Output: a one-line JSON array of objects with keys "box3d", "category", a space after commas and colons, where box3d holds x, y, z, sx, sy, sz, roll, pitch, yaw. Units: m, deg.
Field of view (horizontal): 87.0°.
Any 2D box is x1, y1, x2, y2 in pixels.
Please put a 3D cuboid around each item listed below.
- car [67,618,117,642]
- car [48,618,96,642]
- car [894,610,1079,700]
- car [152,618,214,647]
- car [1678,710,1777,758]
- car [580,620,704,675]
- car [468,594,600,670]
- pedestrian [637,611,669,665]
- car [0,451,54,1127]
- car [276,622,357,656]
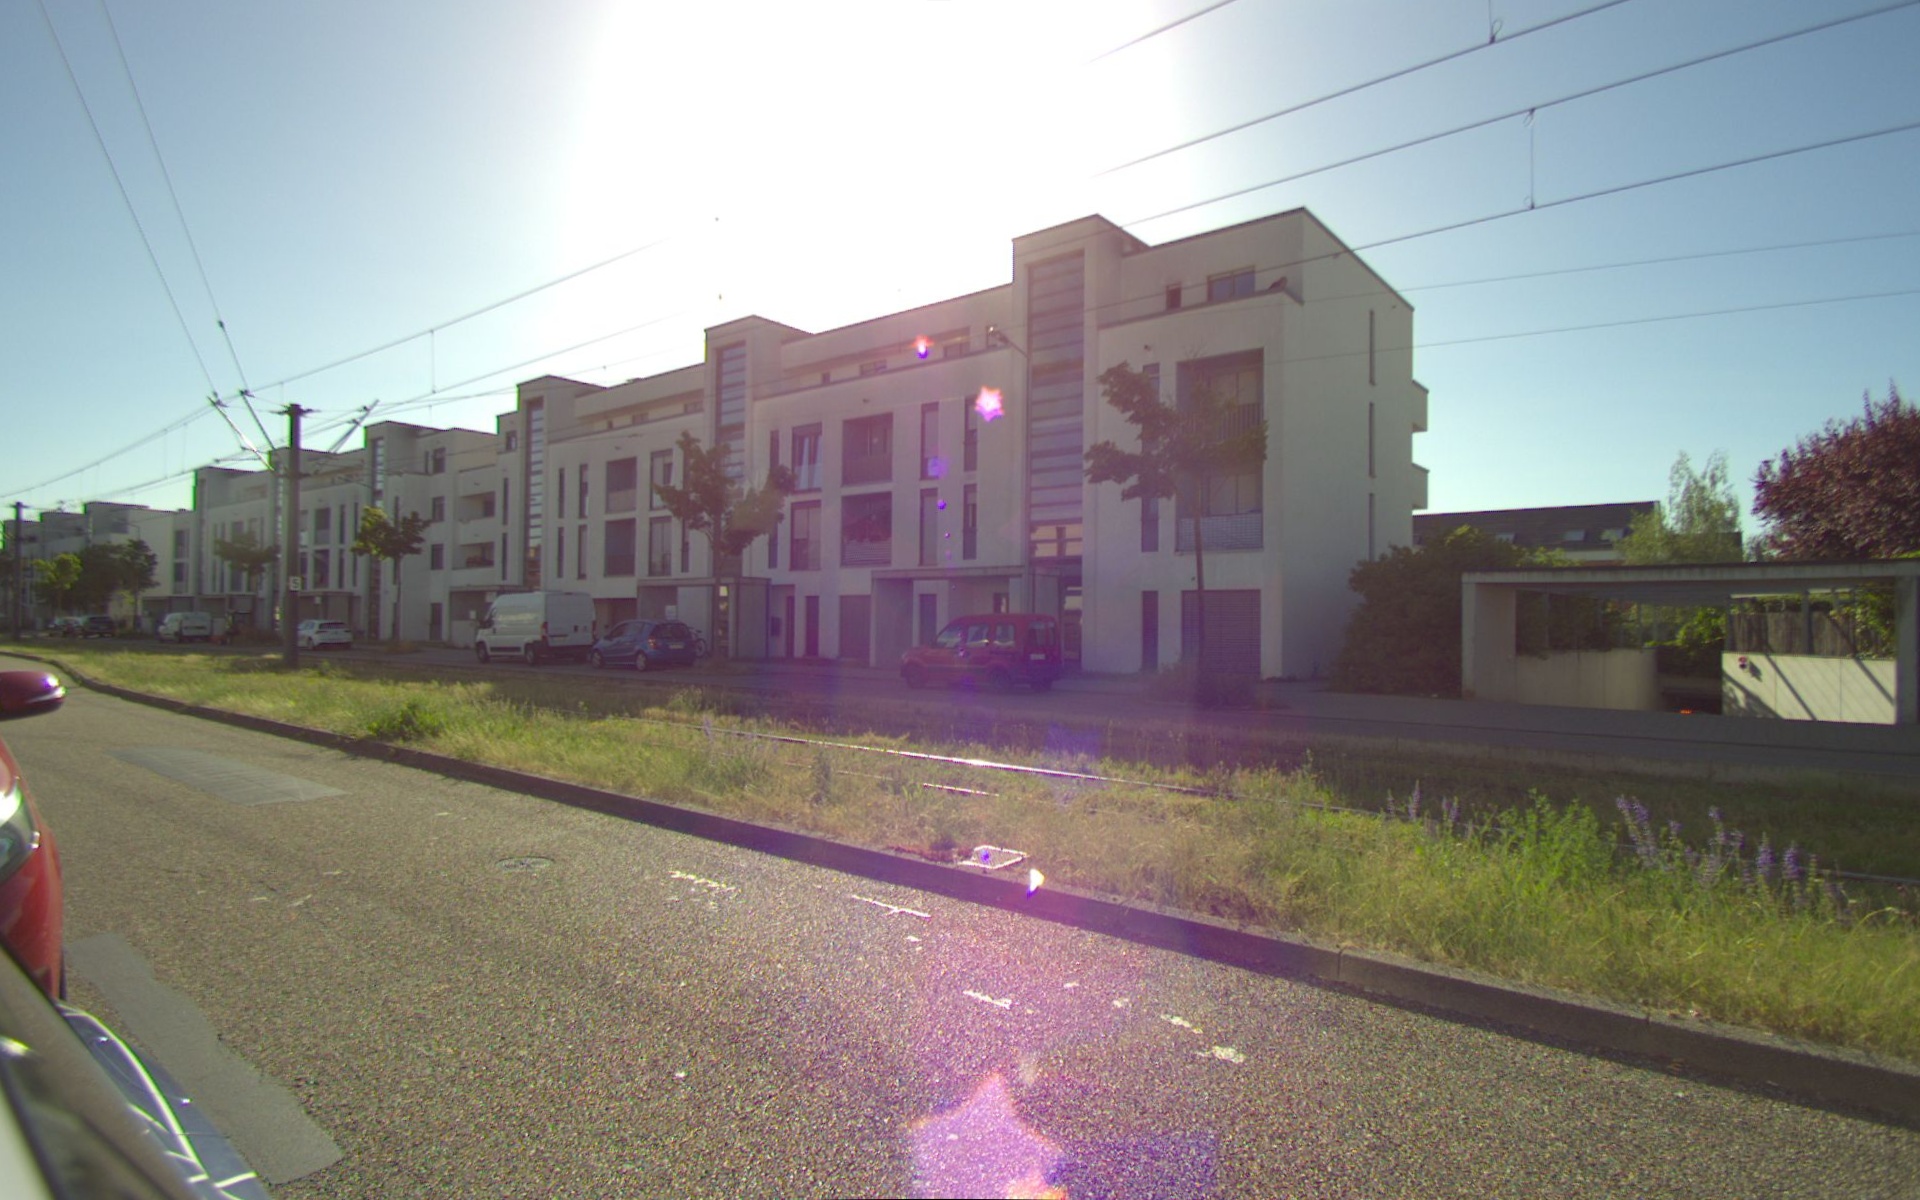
[{"box3d": [-62.973, 2.157, 73.418, 4.277, 1.693, 1.900, -1, 0, 37], "category": "car"}, {"box3d": [-67.517, 2.247, 76.943, 4.277, 1.693, 1.900, -1, 0, 37], "category": "car"}, {"box3d": [0.539, 1.167, 23.027, 3.895, 1.842, 1.972, -1, 0, 43], "category": "car"}, {"box3d": [-47.352, 1.955, 61.636, 4.277, 1.693, 1.900, -1, 0, 37], "category": "car"}, {"box3d": [24.426, 4.266, 32.188, 3.936, 1.337, 1.579, 8, -7, -38], "category": "car"}, {"box3d": [-9.999, 1.446, 31.748, 3.833, 1.556, 1.973, -1, 0, 40], "category": "car"}, {"box3d": [-15.193, 1.072, 35.953, 5.193, 2.491, 2.197, -1, 0, 40], "category": "car"}, {"box3d": [-10.731, 1.305, 35.343, 0.785, 1.836, 0.766, -1, 0, 41], "category": "pedestrian"}, {"box3d": [-4.878, 0.550, 3.666, 4.505, 1.868, 1.850, -1, 0, 41], "category": "car"}, {"box3d": [-31.133, 1.834, 48.909, 4.277, 1.517, 1.900, -1, 0, 37], "category": "car"}]
